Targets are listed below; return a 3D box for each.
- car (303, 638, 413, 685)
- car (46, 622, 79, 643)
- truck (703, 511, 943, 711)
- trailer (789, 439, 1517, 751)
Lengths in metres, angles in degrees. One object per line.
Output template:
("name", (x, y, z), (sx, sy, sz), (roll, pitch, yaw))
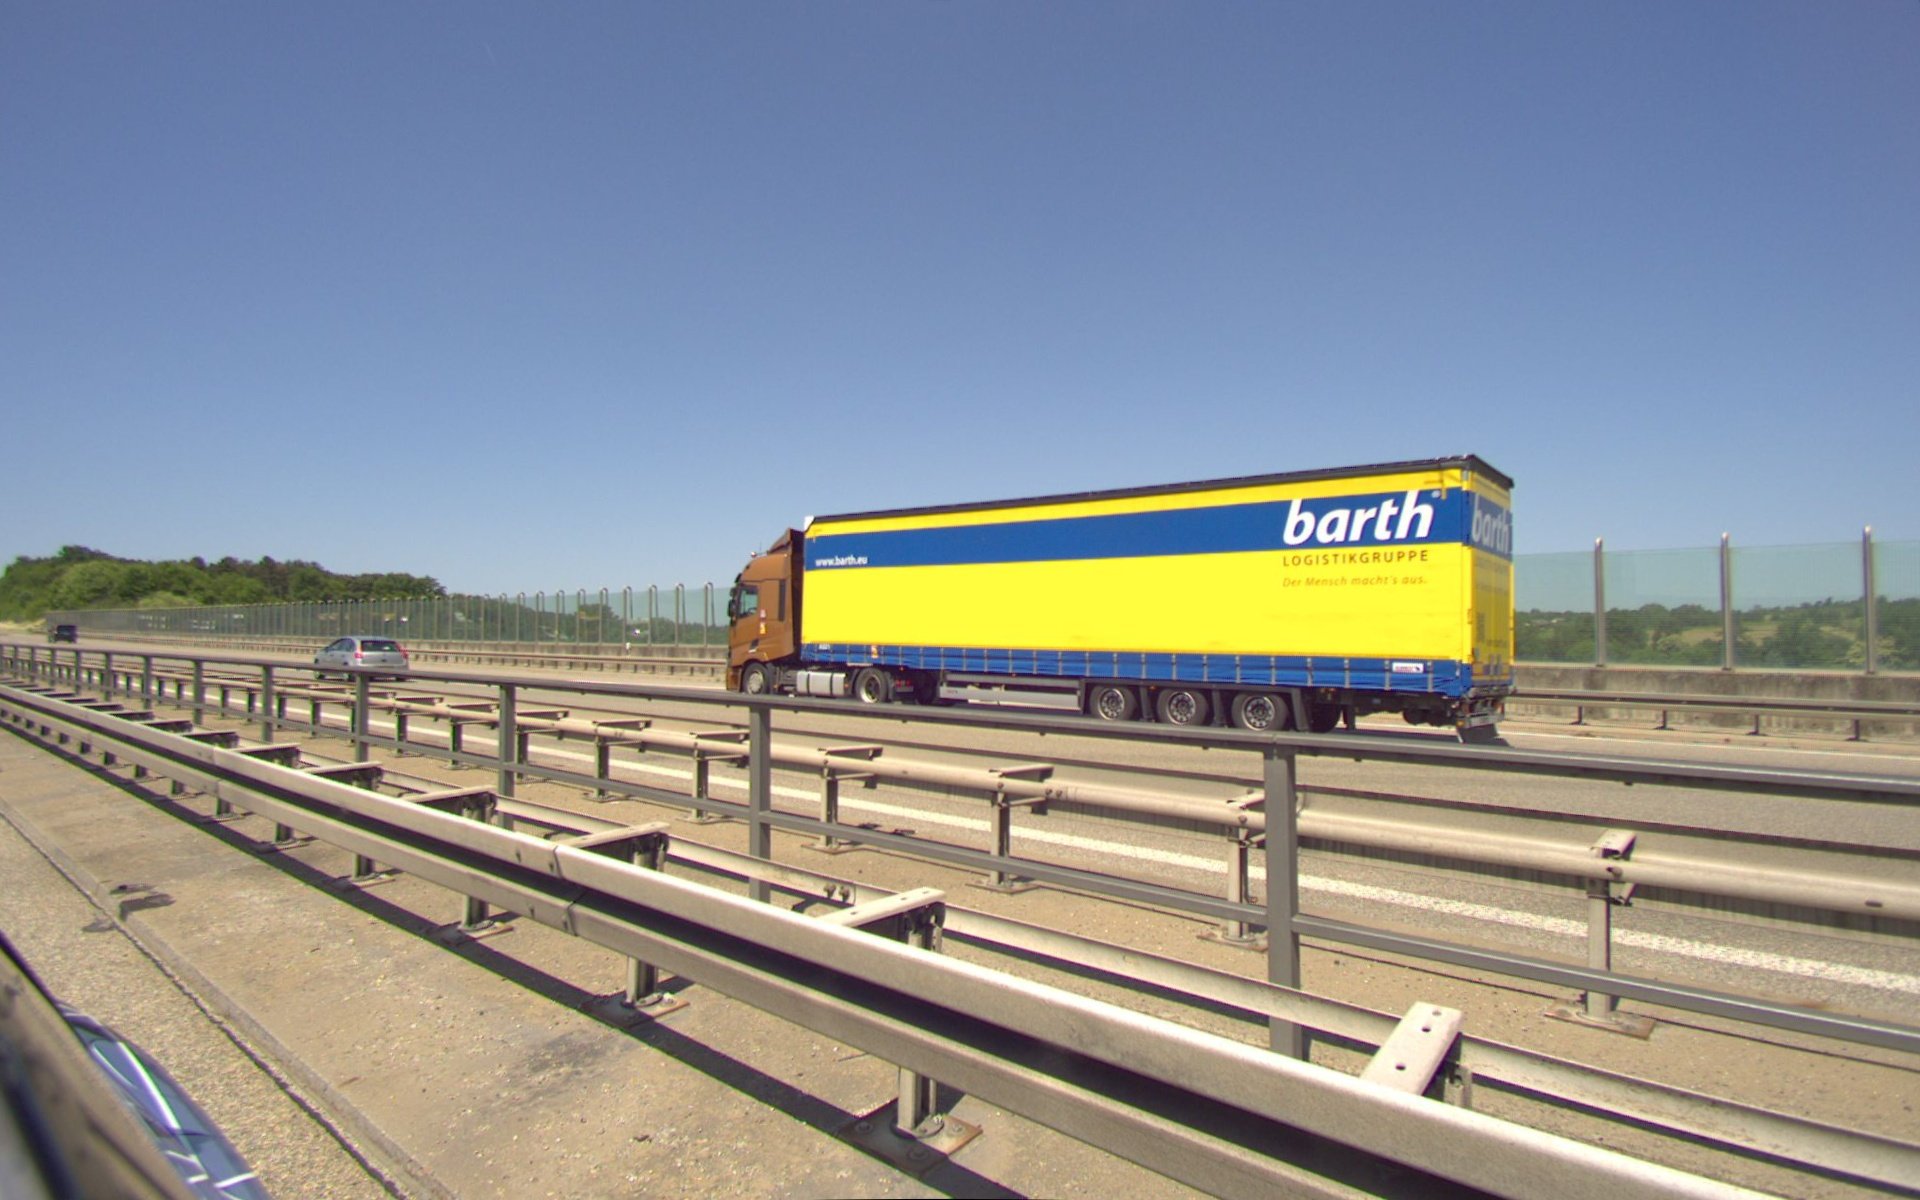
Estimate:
("car", (-19.194, 1.913, 32.184), (4.075, 1.392, 1.744), (-2, -4, 40))
("car", (-90.686, 3.259, 102.258), (3.967, 2.029, 1.995), (-1, 0, 41))
("truck", (-3.271, 0.293, 23.427), (5.539, 4.089, 2.389), (-1, -3, 41))
("trailer", (2.274, 0.110, 18.660), (13.792, 4.095, 2.398), (-2, -3, 41))
